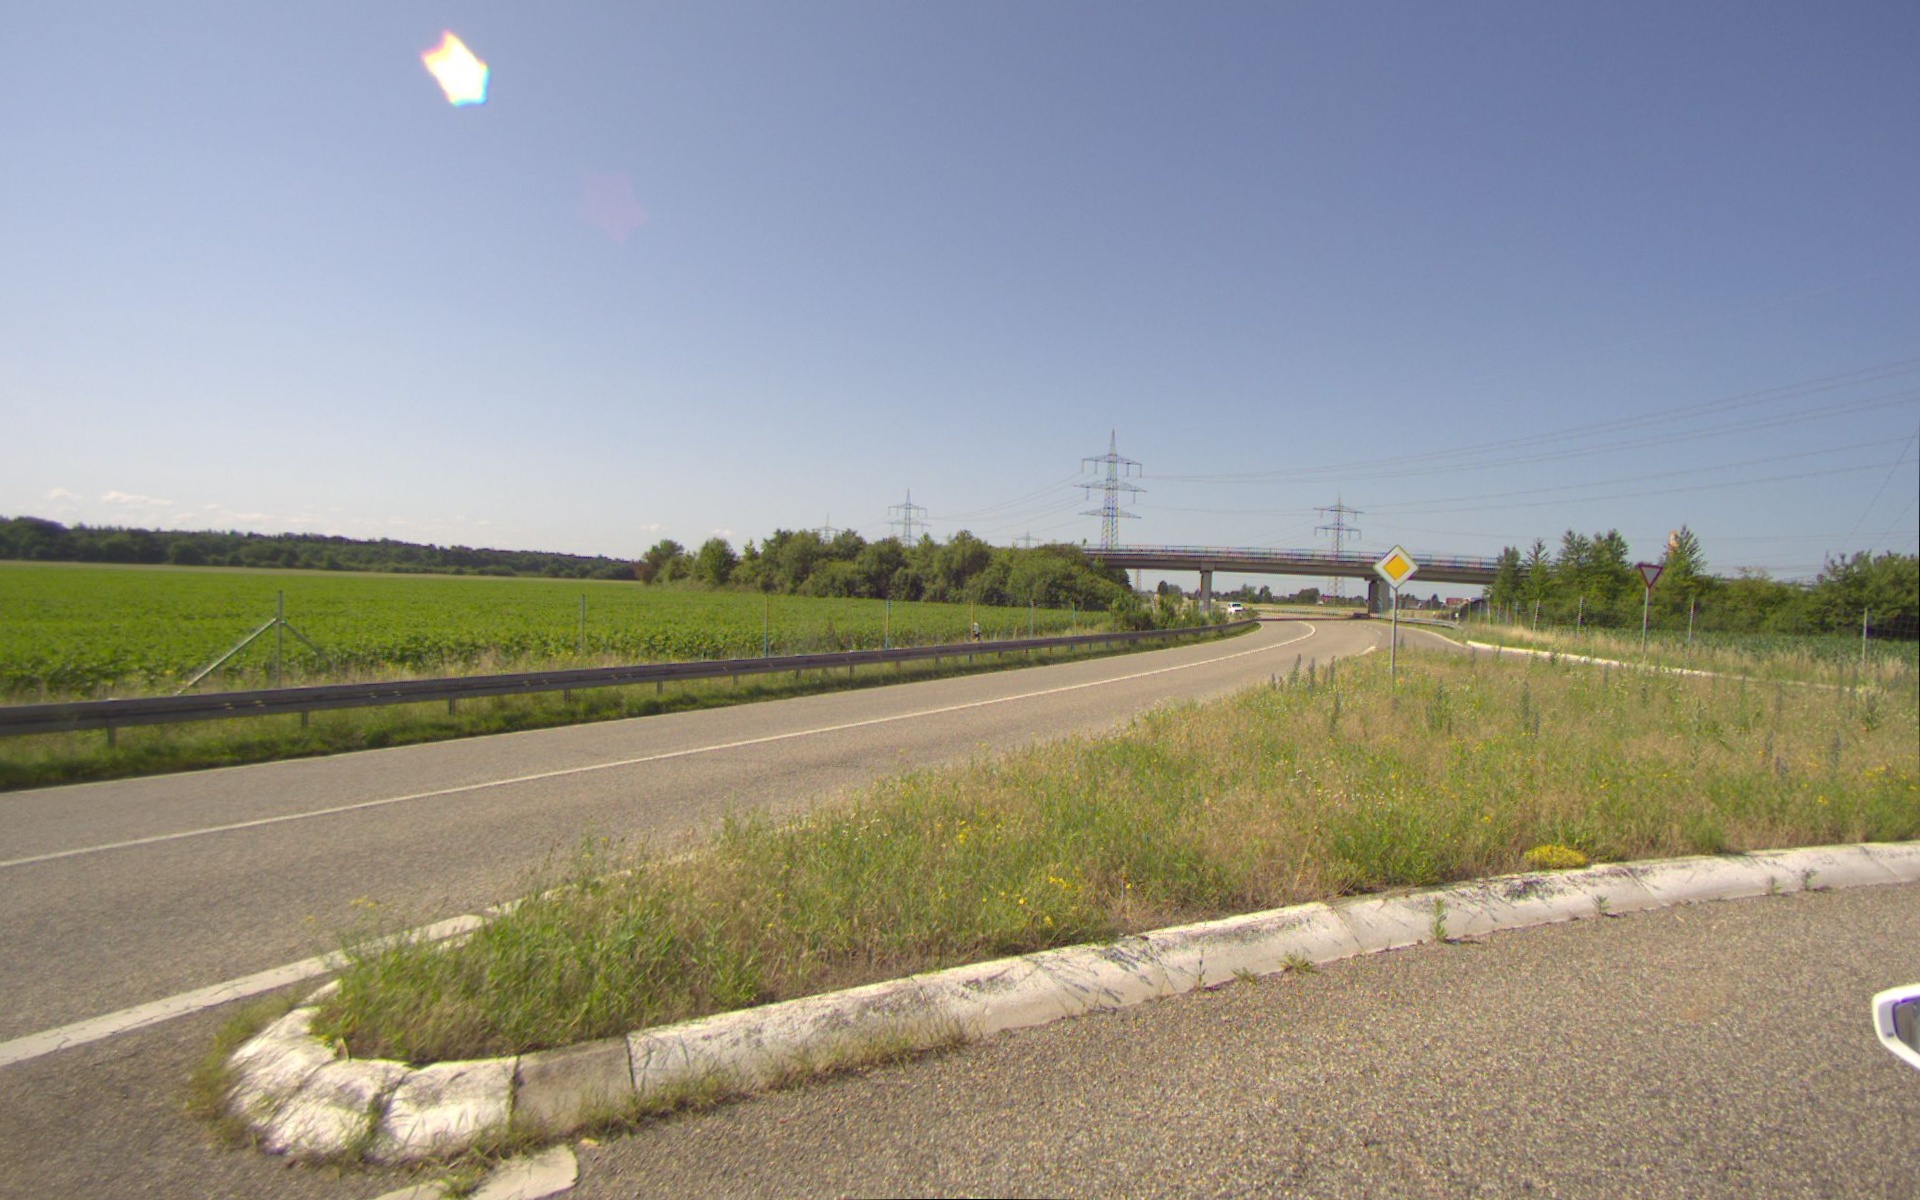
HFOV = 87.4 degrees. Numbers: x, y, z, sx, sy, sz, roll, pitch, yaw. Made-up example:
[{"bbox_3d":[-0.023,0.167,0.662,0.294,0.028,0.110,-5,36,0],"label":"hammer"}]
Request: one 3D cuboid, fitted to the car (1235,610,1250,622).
[{"bbox_3d":[44.269,2.446,157.436,2.060,1.662,5.355,2,1,15],"label":"car"}]
